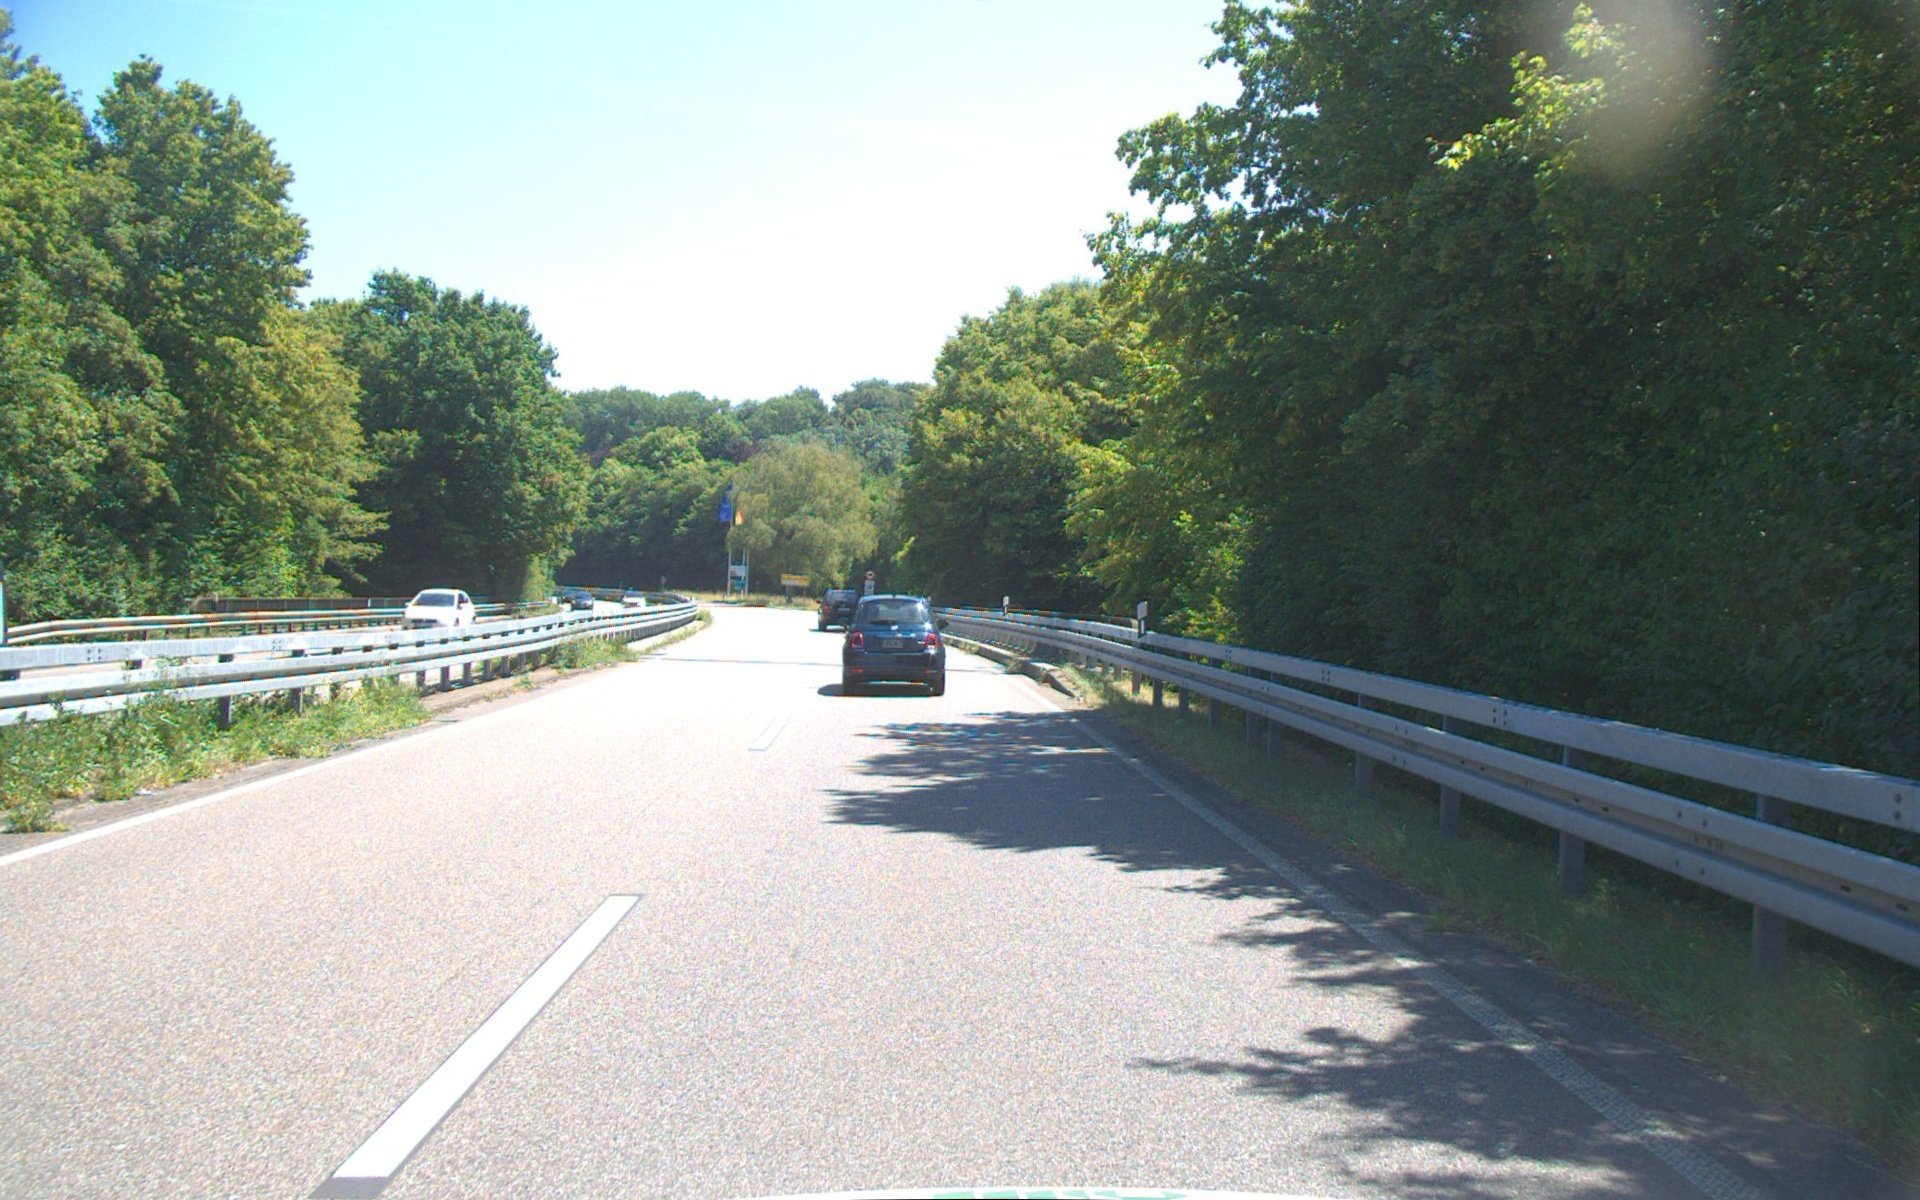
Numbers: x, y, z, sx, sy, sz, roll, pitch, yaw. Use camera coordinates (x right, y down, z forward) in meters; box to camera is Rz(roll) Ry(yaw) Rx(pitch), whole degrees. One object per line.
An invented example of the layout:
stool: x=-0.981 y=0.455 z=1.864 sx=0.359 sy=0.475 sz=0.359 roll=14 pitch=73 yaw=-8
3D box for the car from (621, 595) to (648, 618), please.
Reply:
car: x=-23.802 y=0.492 z=121.105 sx=1.620 sy=1.634 sz=4.213 roll=0 pitch=0 yaw=-7

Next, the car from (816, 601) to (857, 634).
car: x=-5.183 y=0.717 z=69.027 sx=1.496 sy=1.336 sz=3.408 roll=0 pitch=0 yaw=-8

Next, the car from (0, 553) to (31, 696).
car: x=-14.173 y=0.336 z=20.802 sx=1.949 sy=1.985 sz=5.637 roll=0 pitch=0 yaw=-2

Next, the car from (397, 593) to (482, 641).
car: x=-16.590 y=0.525 z=52.872 sx=1.618 sy=1.472 sz=4.216 roll=0 pitch=0 yaw=-4

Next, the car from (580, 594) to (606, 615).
car: x=-28.060 y=0.325 z=126.532 sx=1.620 sy=1.555 sz=3.992 roll=0 pitch=0 yaw=-7

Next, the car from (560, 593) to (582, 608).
car: x=-40.771 y=0.040 z=173.370 sx=1.722 sy=1.555 sz=4.677 roll=0 pitch=0 yaw=-7

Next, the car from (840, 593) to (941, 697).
car: x=-1.051 y=0.669 z=26.403 sx=1.482 sy=1.527 sz=3.589 roll=0 pitch=0 yaw=0
